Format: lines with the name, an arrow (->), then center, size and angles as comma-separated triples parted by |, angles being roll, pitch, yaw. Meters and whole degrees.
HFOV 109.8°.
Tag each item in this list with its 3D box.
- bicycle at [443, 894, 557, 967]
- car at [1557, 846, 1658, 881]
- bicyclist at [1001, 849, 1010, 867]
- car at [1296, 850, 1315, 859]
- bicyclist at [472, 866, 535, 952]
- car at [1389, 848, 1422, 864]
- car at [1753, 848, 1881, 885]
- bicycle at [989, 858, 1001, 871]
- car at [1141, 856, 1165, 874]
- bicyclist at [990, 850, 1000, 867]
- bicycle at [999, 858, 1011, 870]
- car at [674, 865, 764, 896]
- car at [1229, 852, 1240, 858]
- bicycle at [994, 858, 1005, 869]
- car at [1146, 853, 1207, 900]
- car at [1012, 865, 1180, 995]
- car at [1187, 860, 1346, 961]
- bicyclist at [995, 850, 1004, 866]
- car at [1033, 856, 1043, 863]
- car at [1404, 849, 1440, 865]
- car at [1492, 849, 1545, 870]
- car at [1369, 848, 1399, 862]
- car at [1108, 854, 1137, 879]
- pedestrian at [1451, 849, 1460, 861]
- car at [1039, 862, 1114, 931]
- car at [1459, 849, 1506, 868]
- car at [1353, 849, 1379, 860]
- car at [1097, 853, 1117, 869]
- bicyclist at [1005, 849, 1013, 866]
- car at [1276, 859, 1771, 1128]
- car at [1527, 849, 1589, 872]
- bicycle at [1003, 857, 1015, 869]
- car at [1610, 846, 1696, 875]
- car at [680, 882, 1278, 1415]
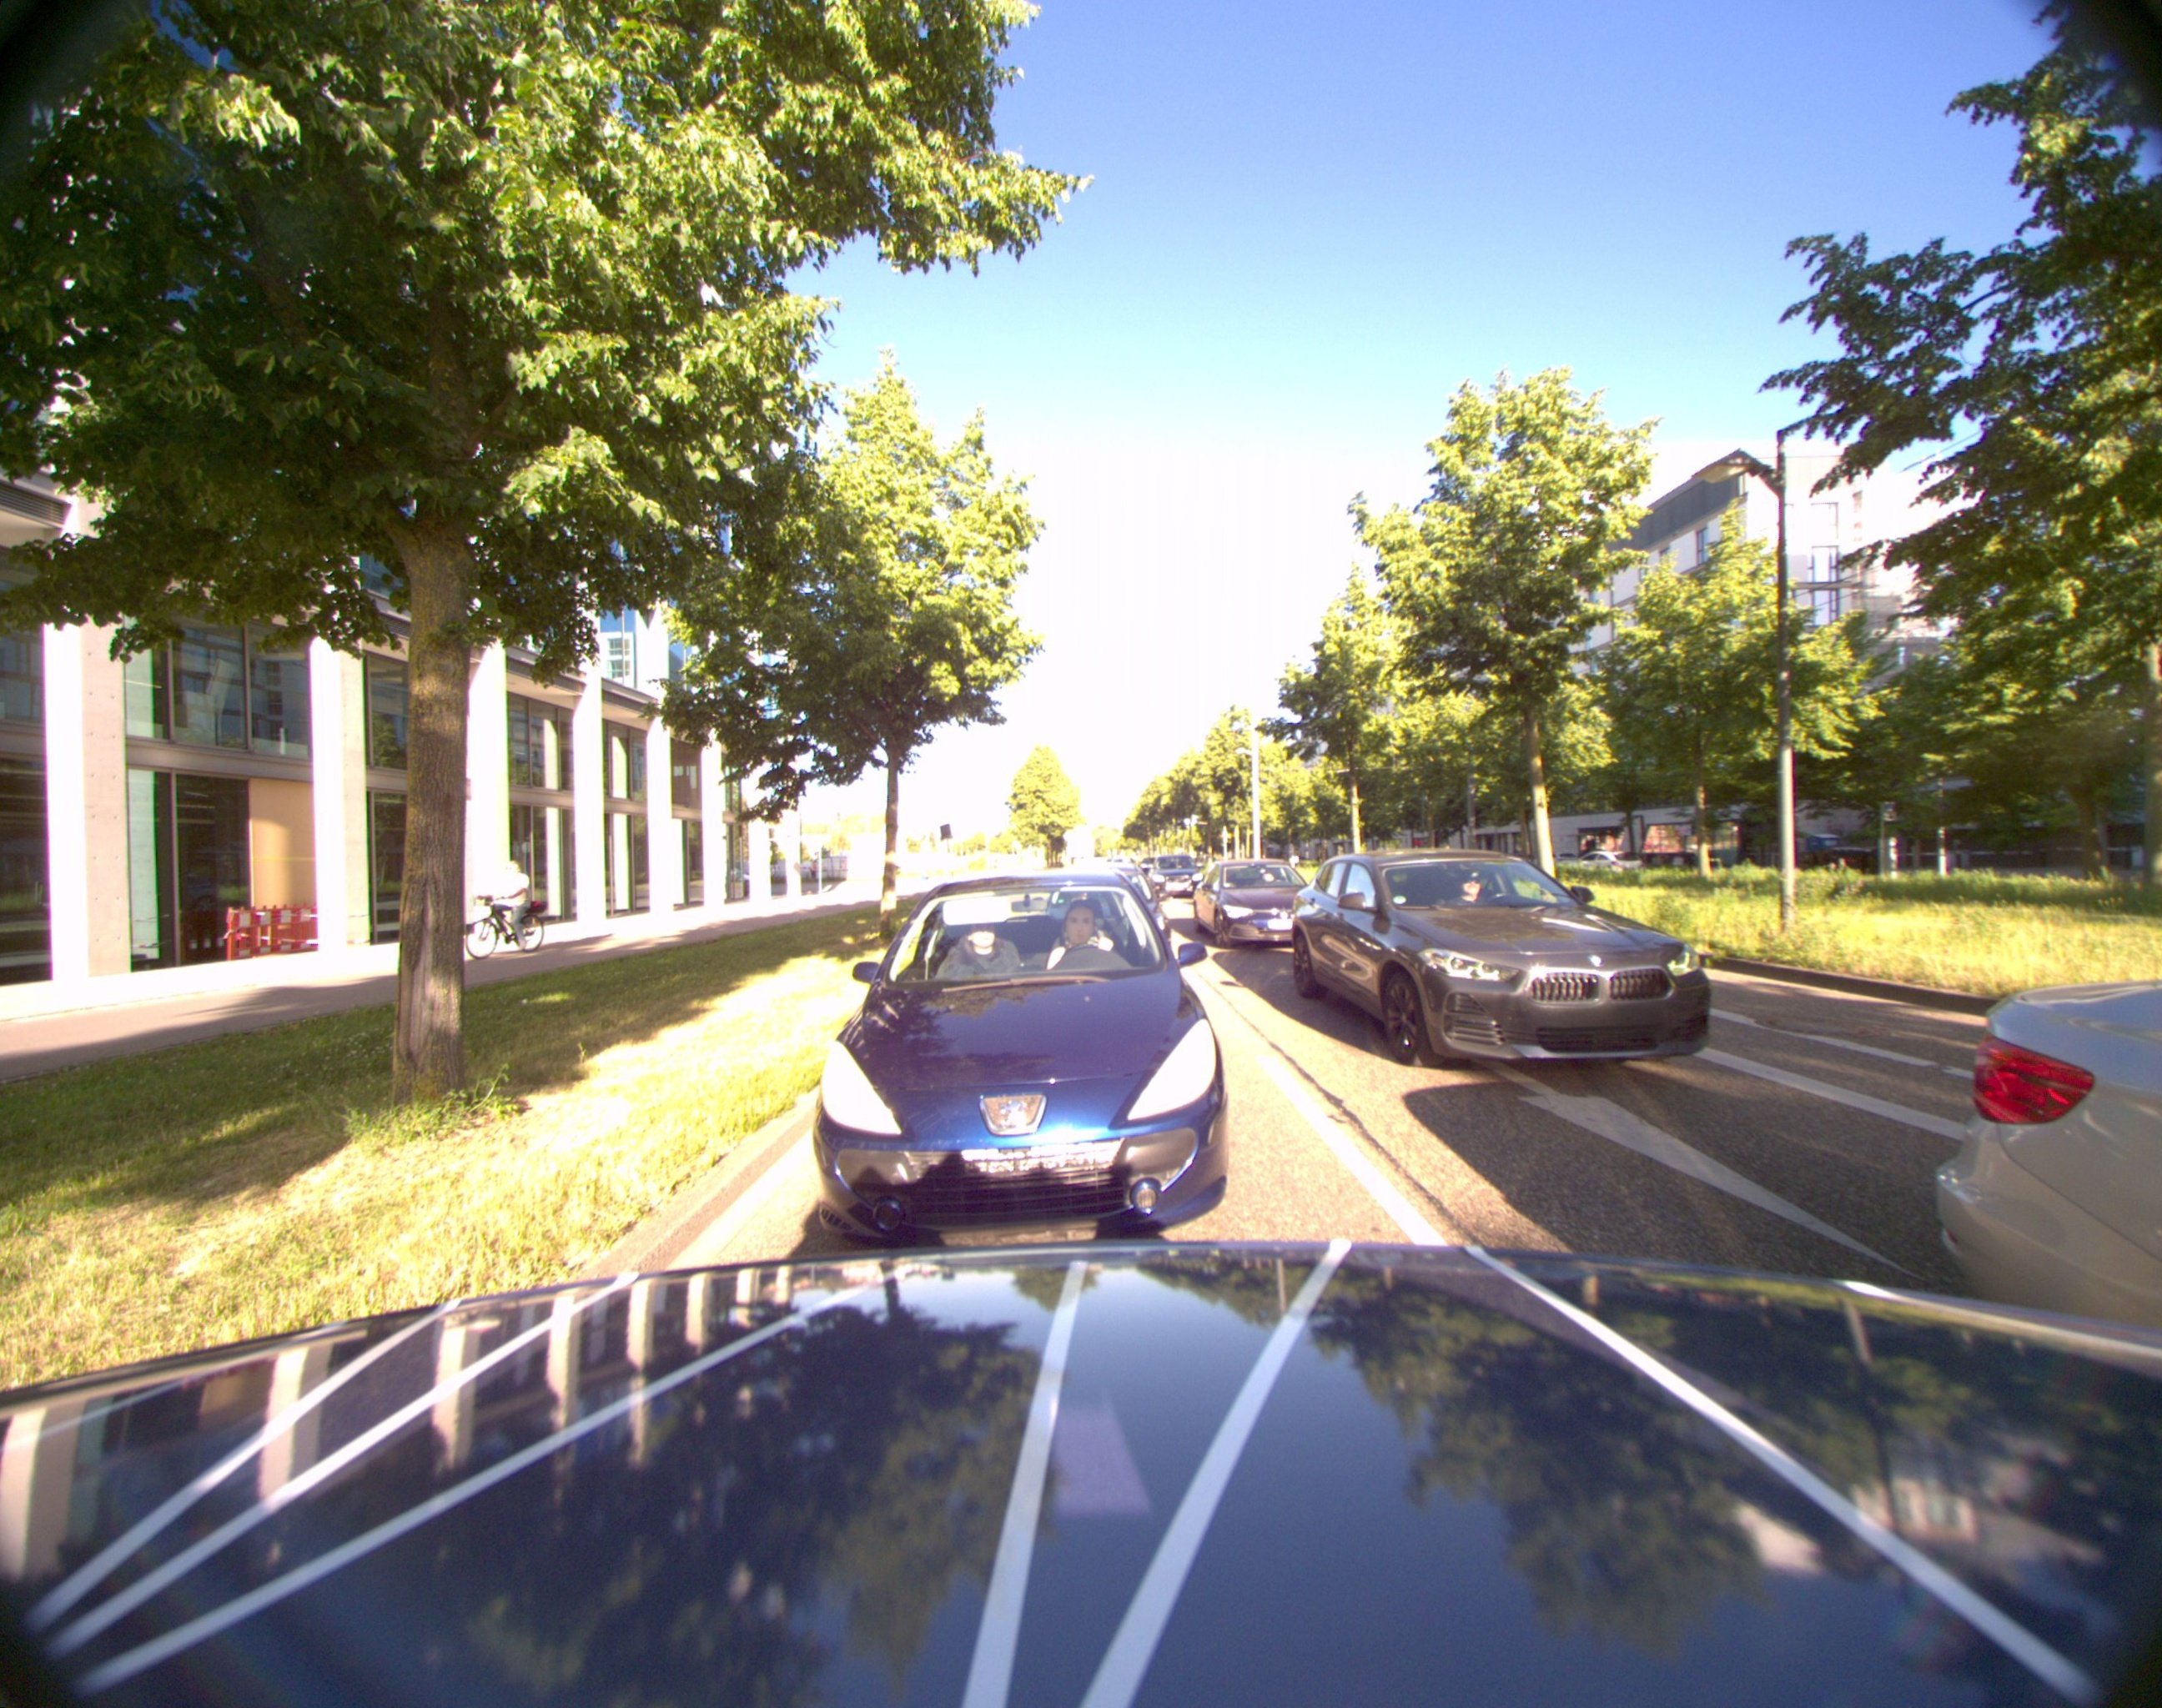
bicycle -> -10.605, 1.359, 13.965 | 0.591, 1.149, 1.928 | 1, 0, 1
car -> 25.850, 0.429, 37.513 | 1.803, 1.474, 4.568 | -5, 0, 1
bicyclist -> -8.982, 0.460, 90.147 | 0.931, 2.045, 1.121 | -1, 1, 1
car -> 36.598, 0.024, 124.168 | 1.998, 1.387, 4.000 | -1, 0, 1
bicyclist -> -10.597, 0.990, 13.959 | 0.591, 1.530, 0.699 | 1, 0, 1
car -> 35.433, 0.206, 83.119 | 1.884, 1.588, 4.184 | -1, 0, 1
car -> 34.076, 0.544, 35.367 | 1.951, 1.588, 4.184 | -1, 0, 1
bicycle -> -10.142, 1.218, 89.934 | 0.931, 1.355, 4.000 | -1, 0, 1
car -> 6.584, 0.982, 69.557 | 1.878, 1.561, 4.344 | -1, 0, 2
bicyclist -> -10.150, 0.536, 89.945 | 0.931, 2.045, 1.121 | -1, 1, 1
bicycle -> -8.963, 1.141, 90.242 | 0.931, 1.355, 4.000 | -1, 0, 1
car -> -20.051, 1.429, 42.164 | 3.996, 1.569, 2.000 | -1, 0, 3
car -> 36.103, 0.191, 179.246 | 1.998, 1.387, 4.001 | -1, 0, 4
bicycle -> -10.084, 1.176, 94.321 | 0.931, 1.355, 4.000 | -1, 0, 1
car -> 3.514, 0.783, 28.572 | 1.878, 1.577, 4.344 | -1, 0, 2
car -> 0.212, 0.950, 11.471 | 1.998, 1.437, 4.622 | -1, 0, 1
car -> 3.068, 0.863, 13.489 | 1.878, 1.415, 4.344 | -1, 0, 2
bicyclist -> -10.082, 0.495, 94.050 | 0.931, 2.045, 1.121 | -1, 1, 1
car -> -10.103, 1.181, 178.853 | 1.998, 1.556, 4.835 | -1, 0, 1
car -> 35.020, 0.275, 78.211 | 1.884, 1.588, 4.184 | -1, 0, 1
car -> 35.178, 0.415, 61.246 | 1.884, 1.588, 4.184 | -1, 0, 1
car -> 35.490, 0.150, 89.040 | 1.884, 1.588, 4.184 | -1, 0, 1
car -> 2.785, 0.840, 51.628 | 1.878, 1.561, 4.344 | -1, 0, 2
pedestrian -> 42.580, 0.123, 86.391 | 0.604, 1.331, 0.660 | -1, 1, 1
car -> -0.065, 1.018, 19.740 | 1.724, 1.516, 4.000 | -1, 0, 1
car -> 35.081, 0.372, 66.529 | 1.884, 1.588, 4.184 | -1, 0, 1
car -> 35.366, 0.061, 94.361 | 1.998, 1.387, 4.001 | -1, 0, 4
car -> 2.579, 0.669, 76.040 | 1.879, 1.561, 4.344 | -1, 0, 1
bicyclist -> -8.932, 0.420, 94.308 | 0.931, 2.045, 1.121 | -1, 1, 1
car -> 3.060, 0.819, 6.372 | 1.861, 1.482, 4.000 | -1, 0, 1
car -> 34.893, 0.482, 55.725 | 1.884, 1.588, 4.184 | -1, 0, 1
bicycle -> -8.933, 1.102, 94.397 | 0.931, 1.355, 4.000 | -1, 0, 1
car -> 33.871, 0.369, 45.138 | 1.951, 1.588, 4.184 | -1, 0, 1
car -> -0.294, 1.016, 4.638 | 1.846, 1.473, 4.481 | -2, 0, 1
